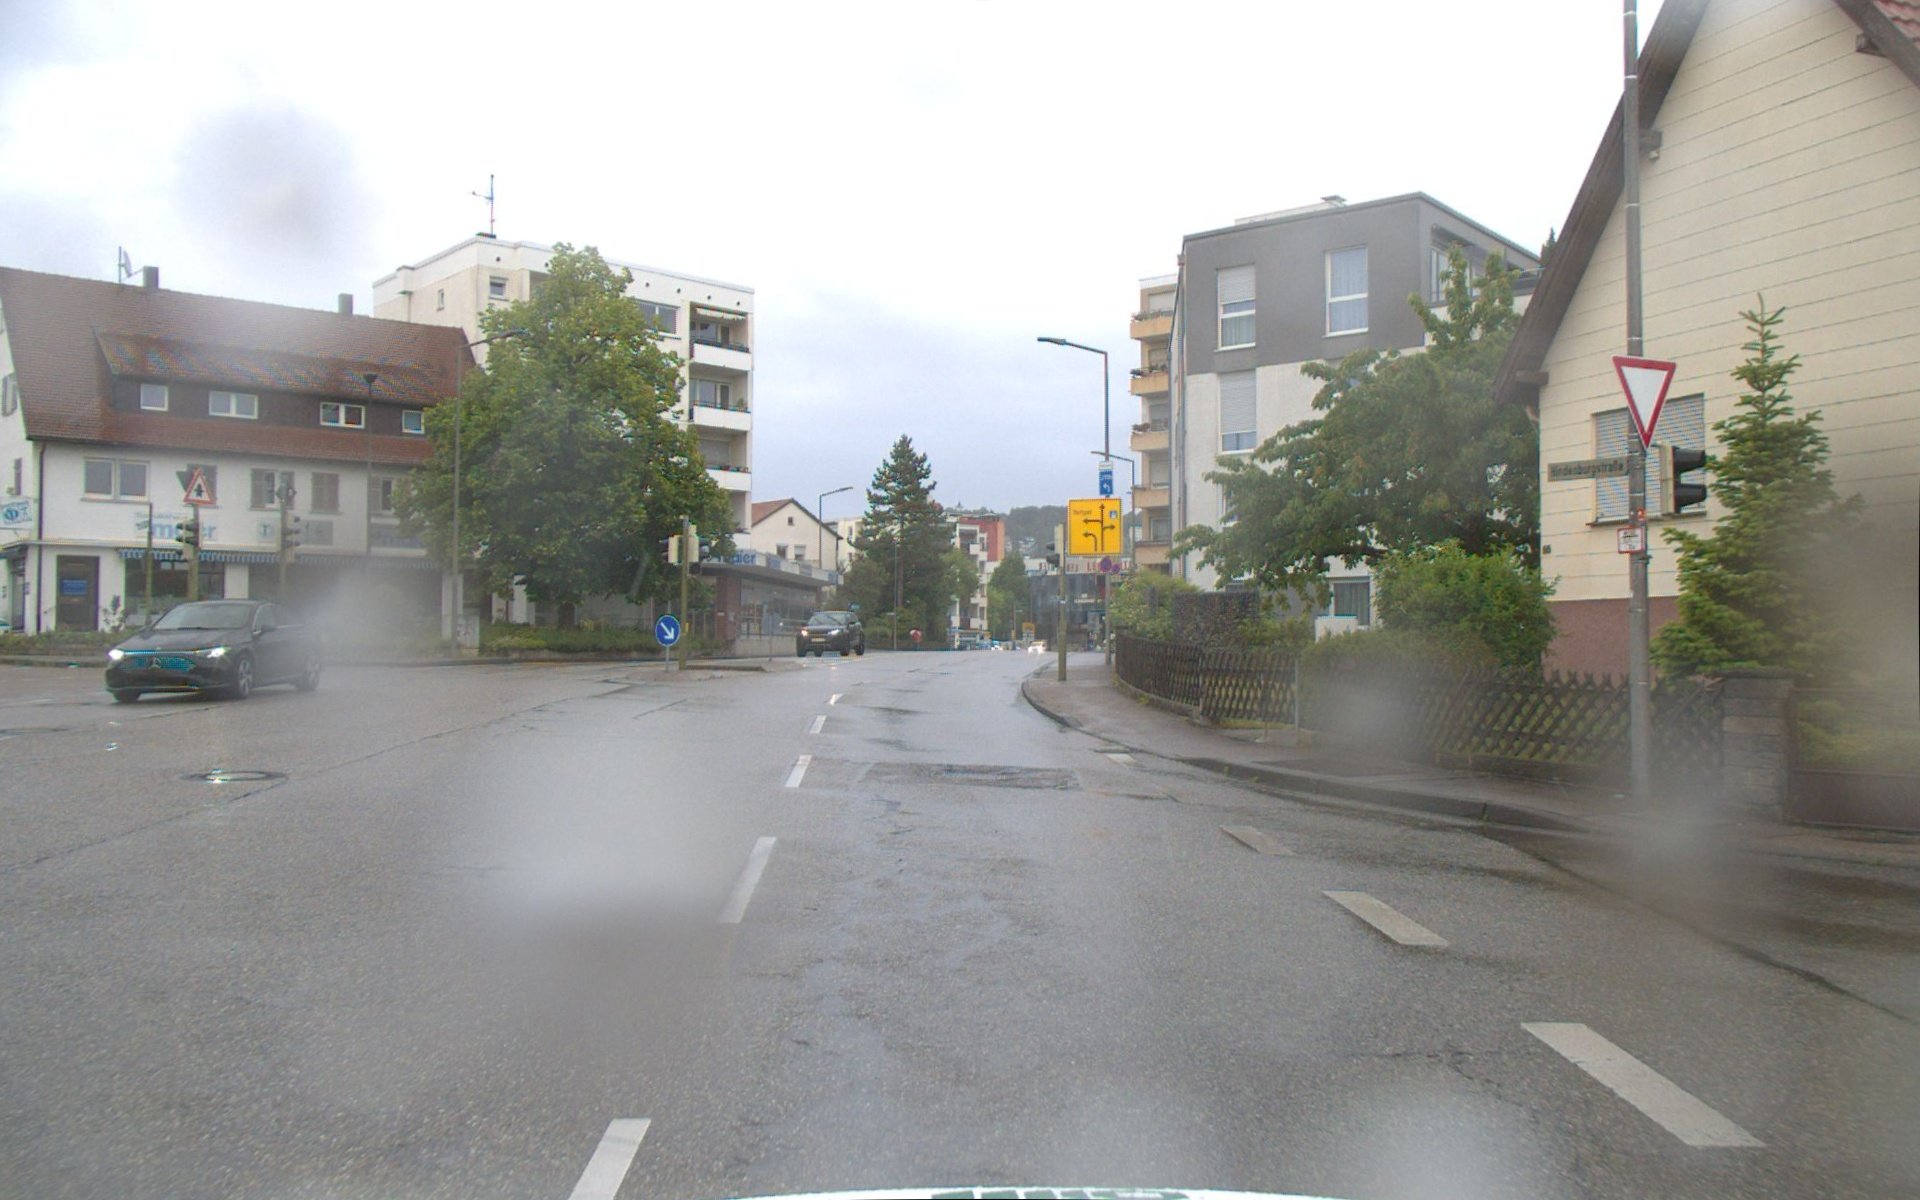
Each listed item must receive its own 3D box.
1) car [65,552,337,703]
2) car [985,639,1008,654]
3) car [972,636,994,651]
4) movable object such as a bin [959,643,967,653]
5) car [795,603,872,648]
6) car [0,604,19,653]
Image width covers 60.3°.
[{"bbox_3d":[-11.214,0.384,24.871,1.953,2.049,4.651,0,0,0],"label":"car"},{"bbox_3d":[4.035,5.092,180.750,1.893,1.569,4.524,0,-2,9],"label":"car"},{"bbox_3d":[2.376,4.463,169.519,1.616,1.548,4.327,0,-2,9],"label":"car"},{"bbox_3d":[0.300,4.801,165.502,0.634,0.983,0.683,-1,-2,9],"label":"movable object such as a bin"},{"bbox_3d":[-4.605,0.915,60.779,1.764,1.584,4.322,0,0,10],"label":"car"},{"bbox_3d":[-32.279,0.882,52.530,3.957,1.553,1.974,1,-1,-37],"label":"car"}]
